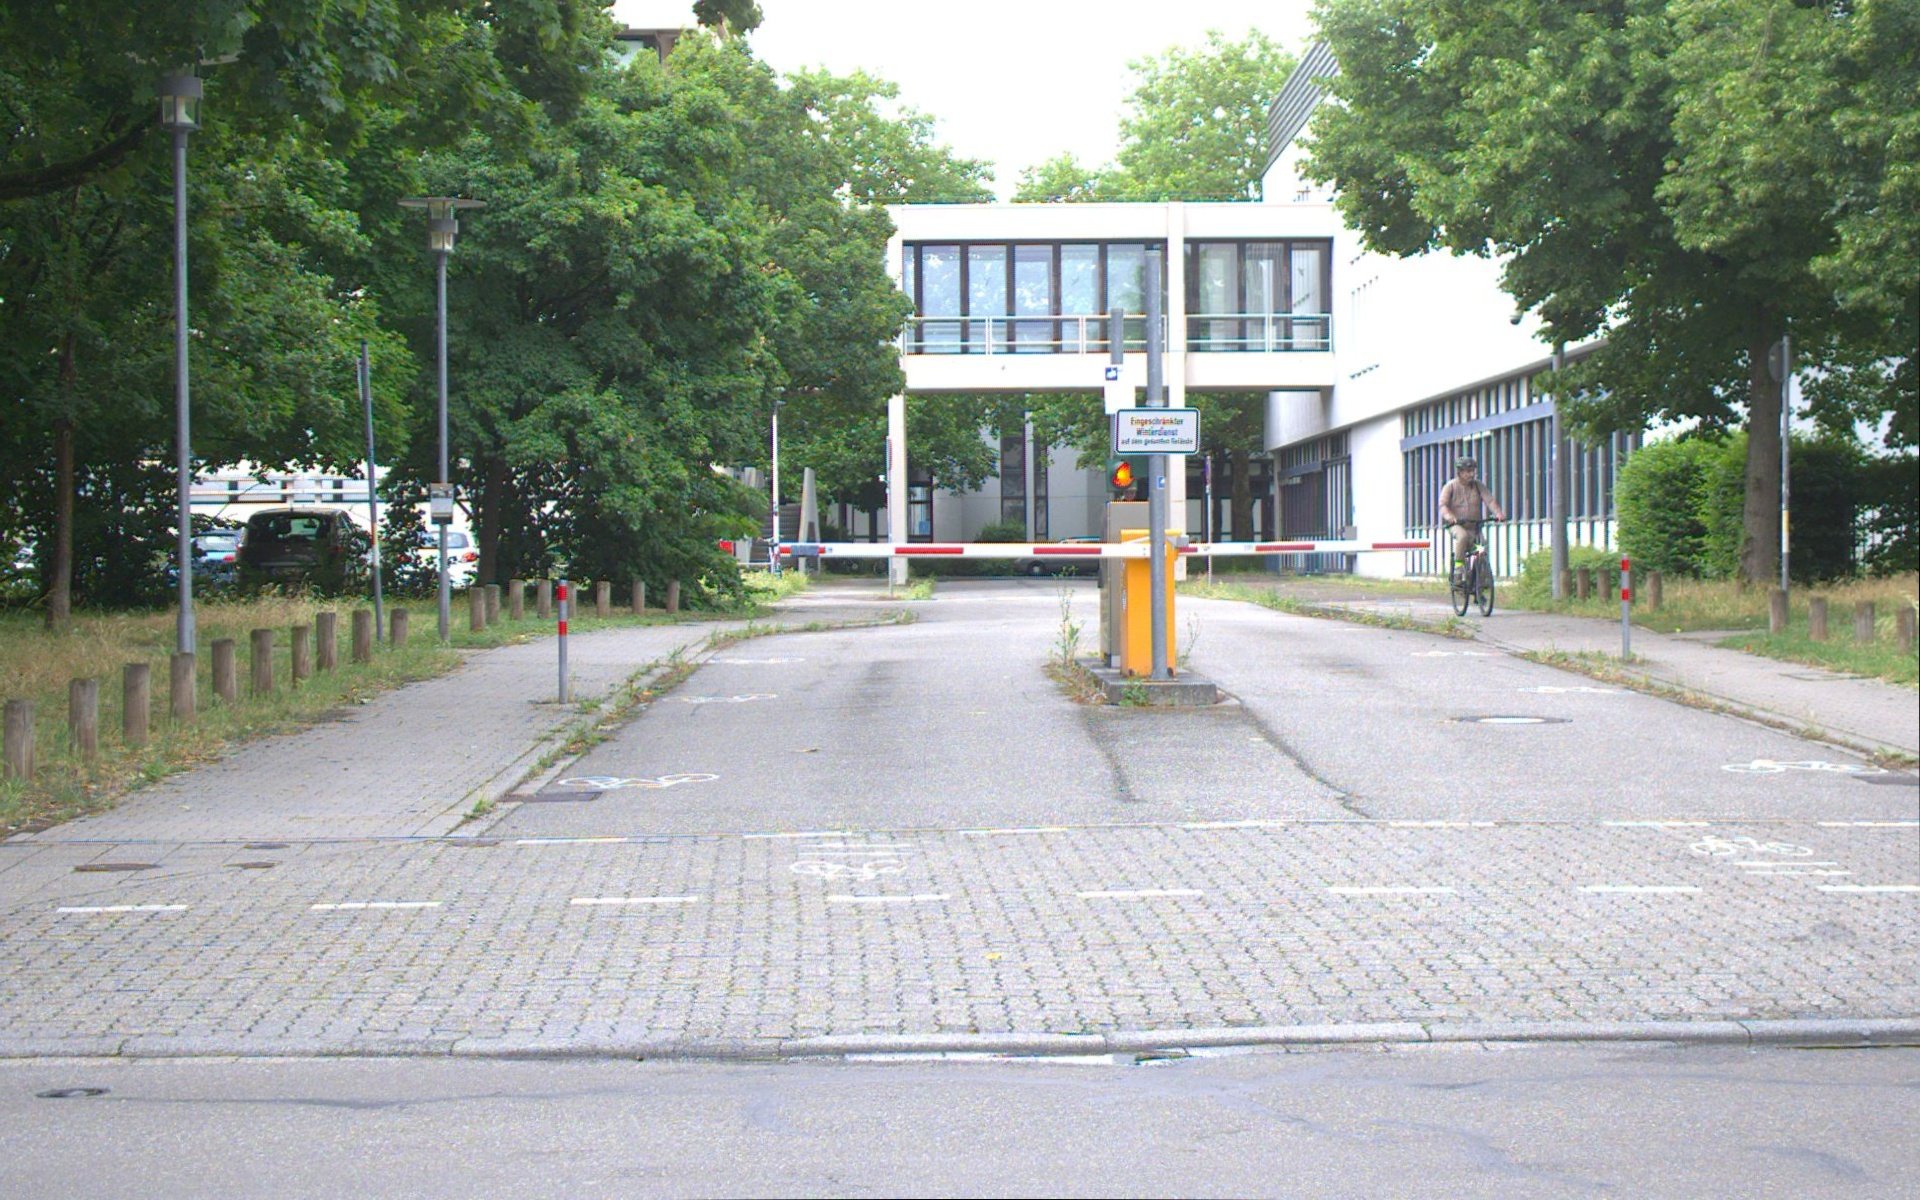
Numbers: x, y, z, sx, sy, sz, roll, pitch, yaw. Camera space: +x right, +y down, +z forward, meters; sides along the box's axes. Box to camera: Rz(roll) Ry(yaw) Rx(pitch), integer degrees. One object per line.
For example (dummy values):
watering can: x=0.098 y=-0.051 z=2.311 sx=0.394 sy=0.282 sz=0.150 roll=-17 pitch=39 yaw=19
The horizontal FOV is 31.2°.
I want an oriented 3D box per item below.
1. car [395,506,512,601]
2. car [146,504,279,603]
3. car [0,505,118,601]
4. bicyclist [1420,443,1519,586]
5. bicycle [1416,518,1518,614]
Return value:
car: x=-9.705 y=-0.881 z=66.083 sx=1.993 sy=1.756 sz=4.001 roll=-1 pitch=0 yaw=-5
car: x=-14.299 y=-0.873 z=65.961 sx=1.993 sy=1.788 sz=4.000 roll=-1 pitch=-1 yaw=-5
car: x=-17.399 y=-0.864 z=65.592 sx=1.993 sy=1.722 sz=4.000 roll=-1 pitch=-1 yaw=-5
bicyclist: x=5.935 y=-0.998 z=40.089 sx=1.017 sy=1.639 sz=0.923 roll=0 pitch=1 yaw=0
bicycle: x=5.908 y=-0.408 z=40.190 sx=0.866 sy=1.071 sz=2.142 roll=0 pitch=2 yaw=0
